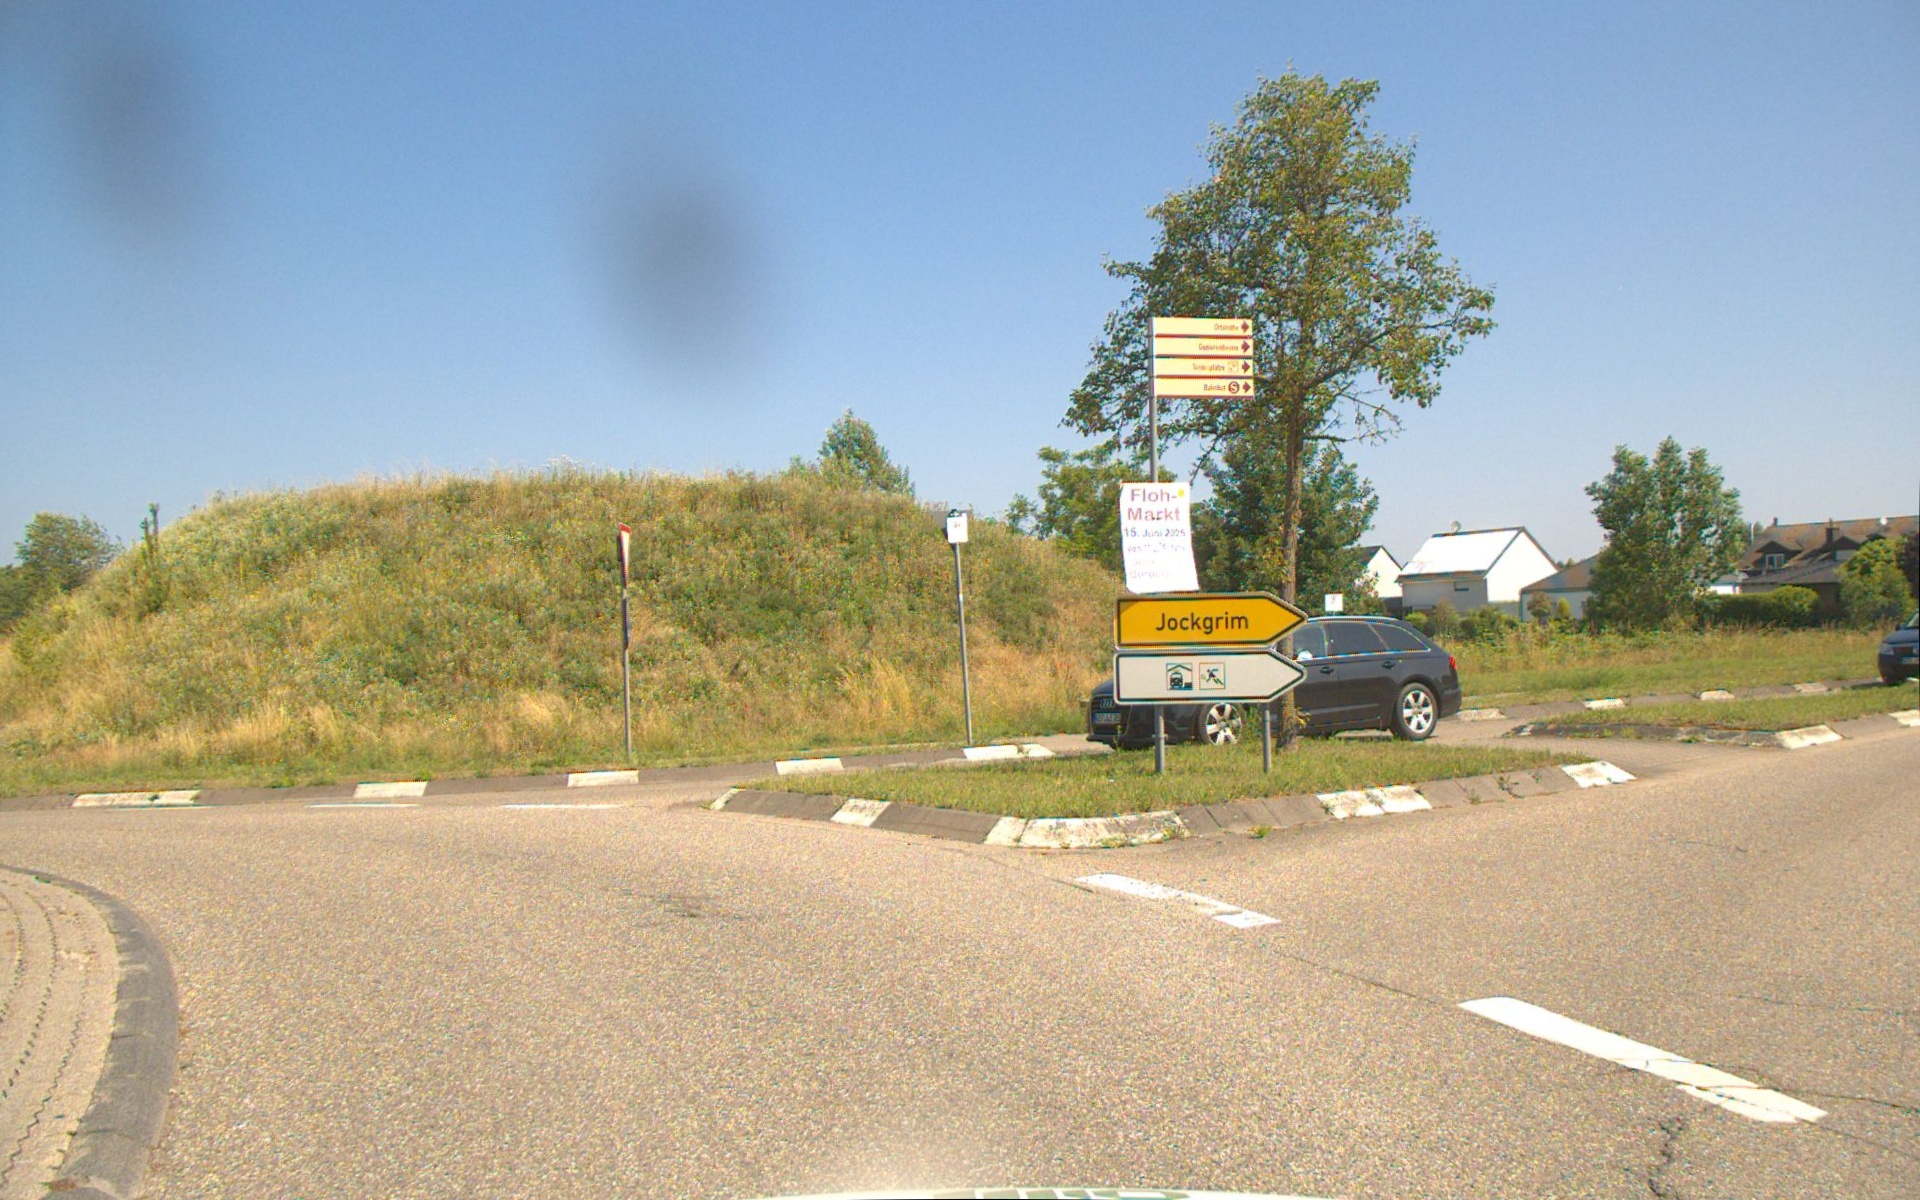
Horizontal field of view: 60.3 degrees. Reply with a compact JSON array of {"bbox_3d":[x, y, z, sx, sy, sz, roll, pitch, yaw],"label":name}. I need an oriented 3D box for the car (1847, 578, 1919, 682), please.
[{"bbox_3d":[17.649,0.474,28.844,4.599,1.669,1.794,-1,-5,-34],"label":"car"}]

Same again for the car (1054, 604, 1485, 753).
[{"bbox_3d":[3.617,0.881,19.000,4.851,1.459,1.902,-1,-4,-33],"label":"car"}]
